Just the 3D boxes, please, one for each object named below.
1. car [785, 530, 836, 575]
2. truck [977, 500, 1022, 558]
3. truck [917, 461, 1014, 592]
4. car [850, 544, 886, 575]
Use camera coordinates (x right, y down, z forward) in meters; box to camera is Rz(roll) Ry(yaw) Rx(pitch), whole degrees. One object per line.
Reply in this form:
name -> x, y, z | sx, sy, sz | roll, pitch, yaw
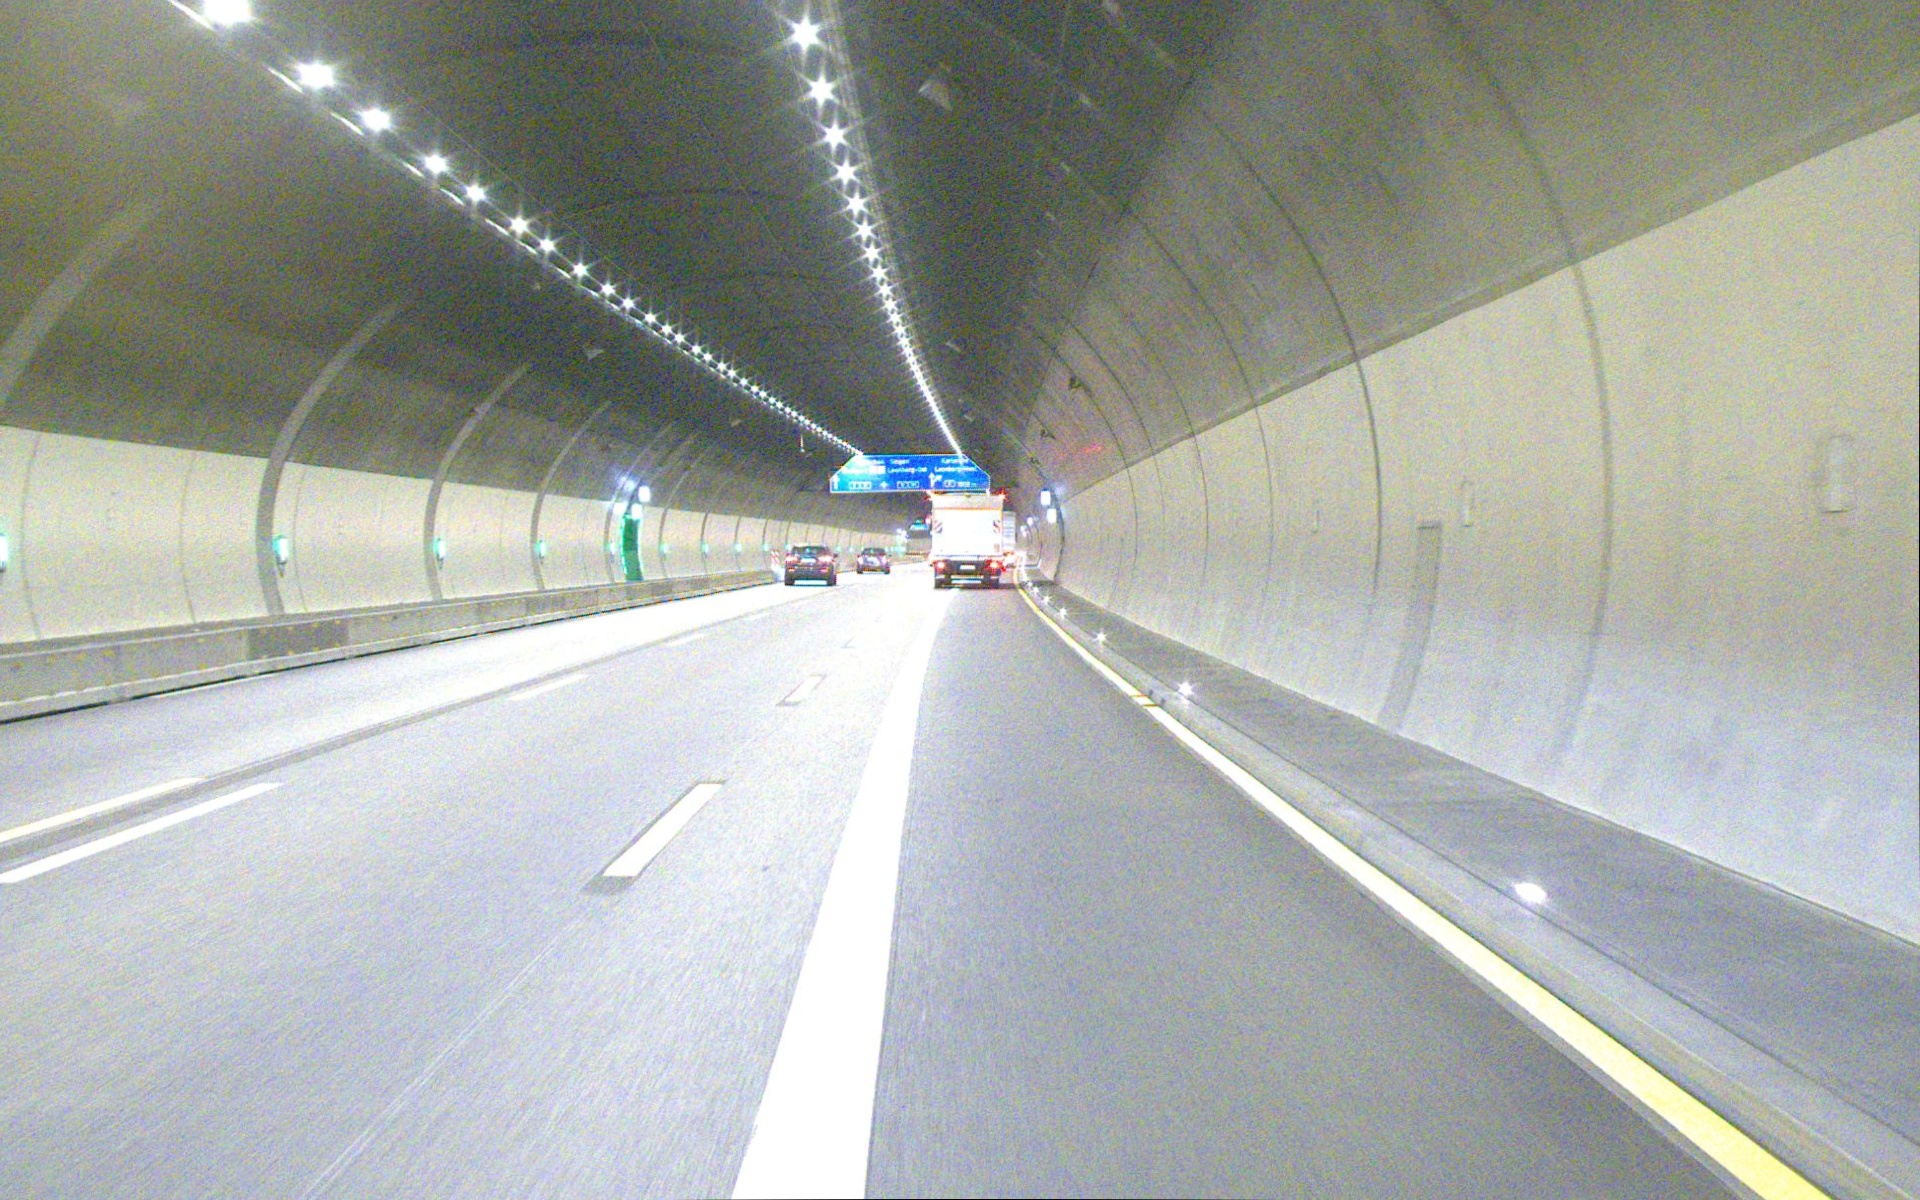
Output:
car -> -5.583, -1.790, 128.918 | 1.812, 1.612, 4.001 | 1, 1, -1
truck -> 2.837, -5.102, 249.220 | 2.922, 4.034, 14.030 | -1, 1, -1
truck -> 0.091, -2.777, 131.482 | 3.278, 4.634, 17.288 | -1, 1, -1
car -> -4.940, -2.167, 183.952 | 1.812, 1.514, 4.001 | 1, 2, -3
